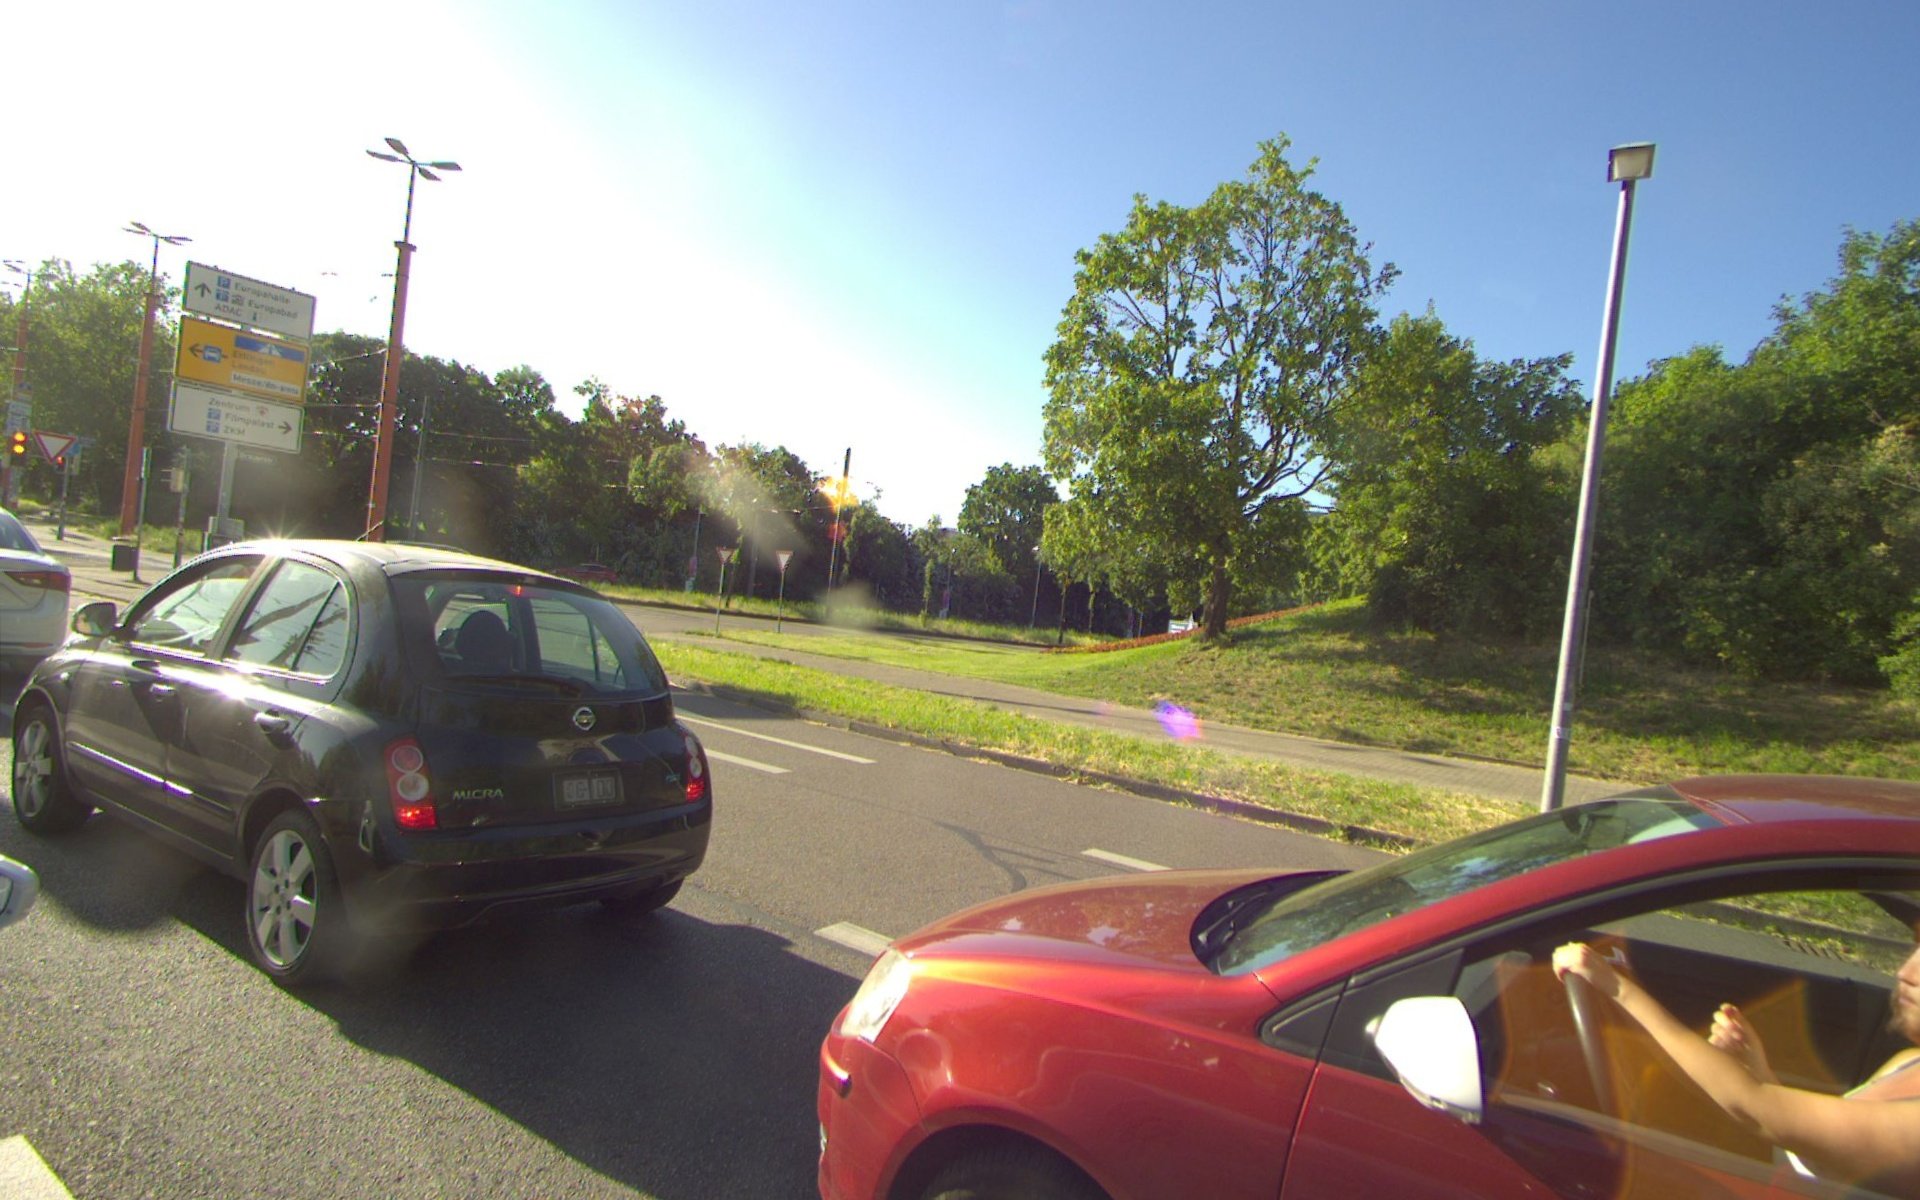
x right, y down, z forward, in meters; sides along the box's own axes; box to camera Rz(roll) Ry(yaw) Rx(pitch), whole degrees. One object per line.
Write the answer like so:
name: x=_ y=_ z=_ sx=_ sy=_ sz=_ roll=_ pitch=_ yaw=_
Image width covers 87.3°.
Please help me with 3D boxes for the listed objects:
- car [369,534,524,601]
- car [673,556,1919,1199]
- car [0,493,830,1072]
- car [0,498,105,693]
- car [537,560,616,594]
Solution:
car: x=-18.214 y=-1.132 z=35.768 sx=4.642 sy=1.724 sz=1.985 roll=8 pitch=-1 yaw=-30
car: x=1.839 y=0.993 z=1.616 sx=4.651 sy=1.577 sz=1.769 roll=7 pitch=0 yaw=34
car: x=-3.014 y=0.454 z=4.845 sx=4.546 sy=1.500 sz=1.737 roll=7 pitch=0 yaw=32
car: x=-9.361 y=-0.261 z=8.717 sx=4.295 sy=1.482 sz=1.769 roll=7 pitch=0 yaw=33
car: x=-24.140 y=-1.438 z=63.354 sx=4.244 sy=1.513 sz=1.984 roll=8 pitch=0 yaw=-31
